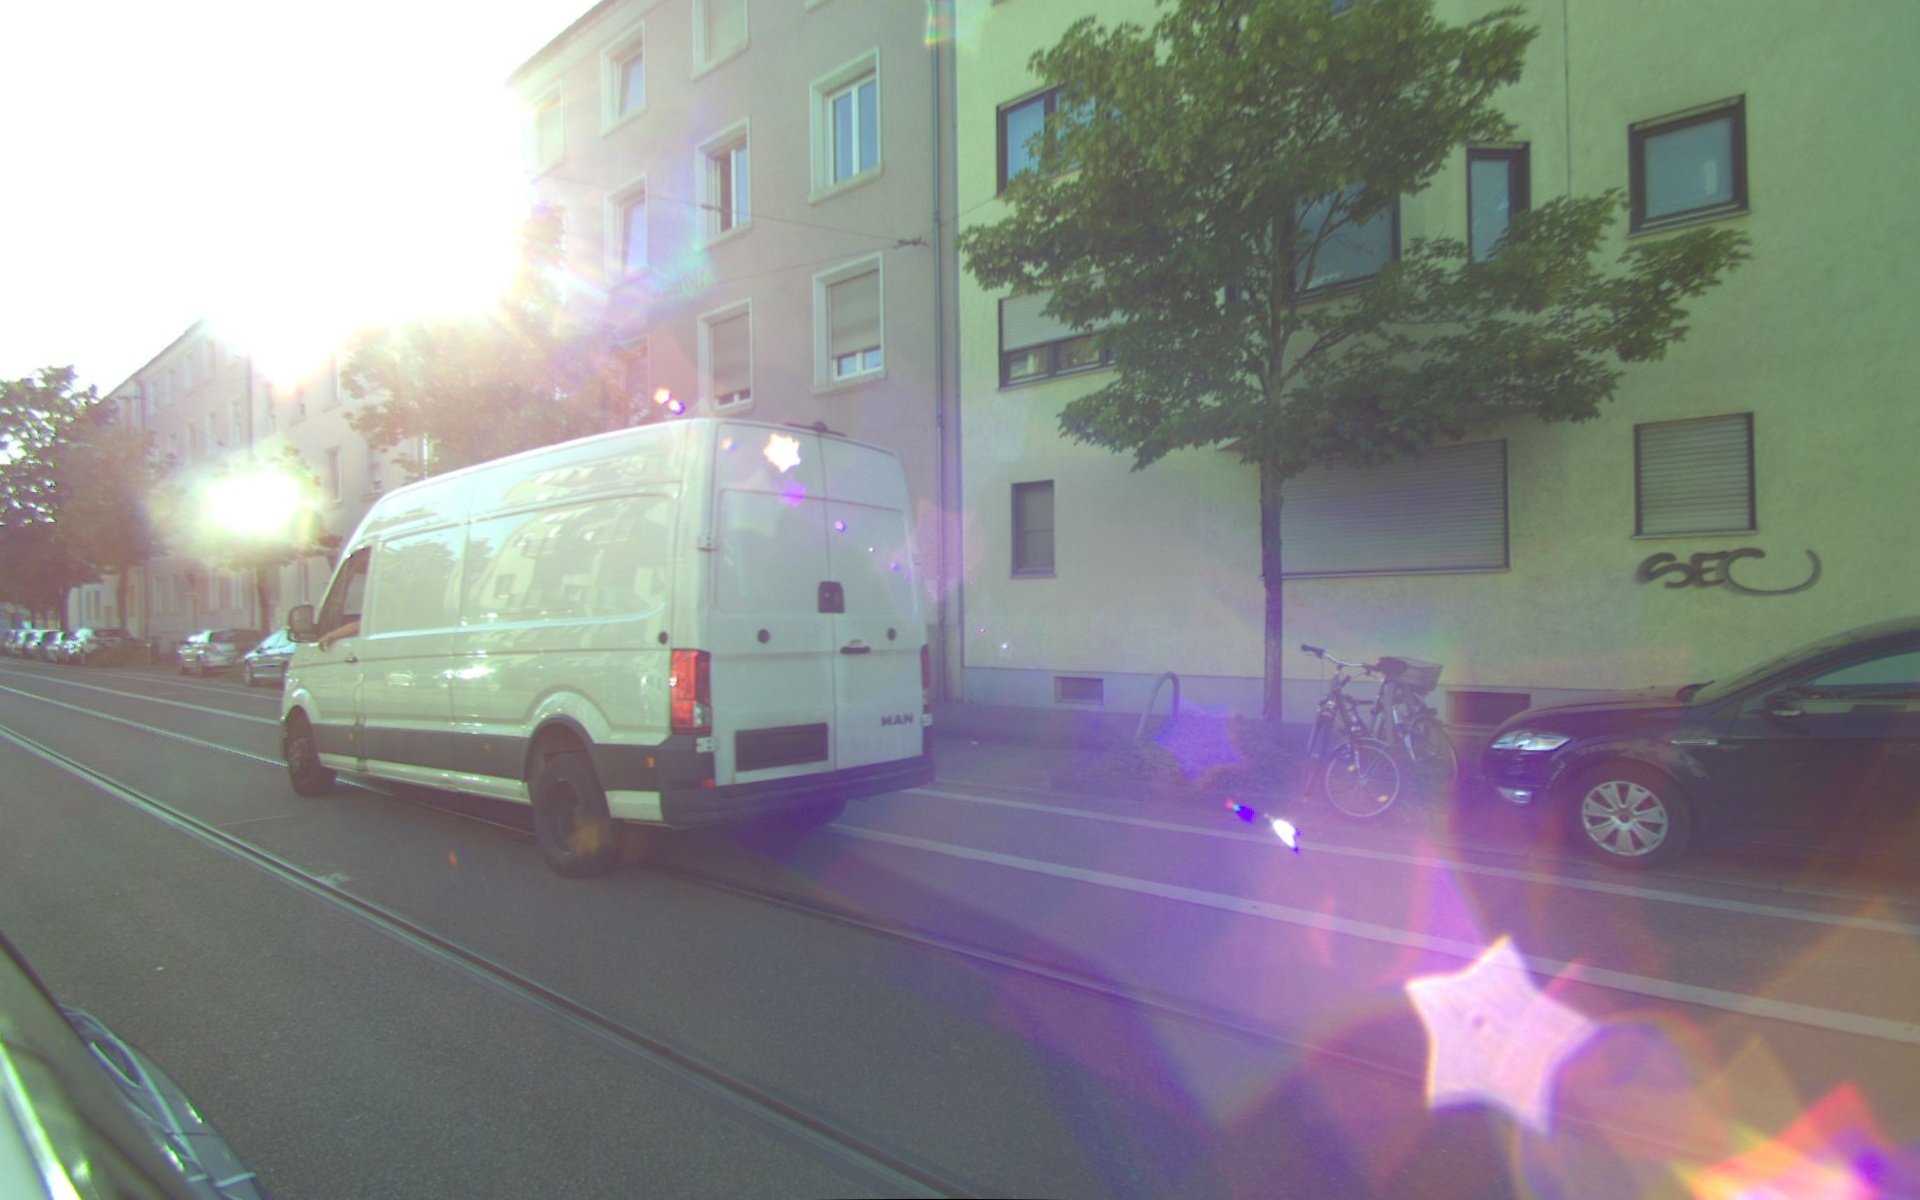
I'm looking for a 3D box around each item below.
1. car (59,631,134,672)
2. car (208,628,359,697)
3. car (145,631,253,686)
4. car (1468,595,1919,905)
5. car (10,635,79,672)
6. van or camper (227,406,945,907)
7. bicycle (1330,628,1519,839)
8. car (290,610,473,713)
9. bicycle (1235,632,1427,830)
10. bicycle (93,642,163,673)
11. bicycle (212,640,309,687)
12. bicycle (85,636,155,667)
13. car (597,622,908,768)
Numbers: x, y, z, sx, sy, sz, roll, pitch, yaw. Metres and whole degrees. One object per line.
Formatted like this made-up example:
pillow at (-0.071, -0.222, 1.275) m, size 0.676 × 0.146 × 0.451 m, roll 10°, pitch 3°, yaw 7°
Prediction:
car at (-36.832, 2.169, 43.136) m, size 4.042 × 1.635 × 1.668 m, roll -2°, pitch -1°, yaw 38°
car at (-16.530, 1.470, 24.631) m, size 4.854 × 1.484 × 1.747 m, roll -2°, pitch -1°, yaw 40°
car at (-23.175, 1.731, 30.751) m, size 4.751 × 1.484 × 1.746 m, roll -2°, pitch -1°, yaw 42°
car at (5.598, 0.743, 5.532) m, size 4.732 × 1.554 × 1.746 m, roll -2°, pitch -1°, yaw 42°
car at (-41.779, 2.398, 46.158) m, size 4.042 × 1.563 × 1.668 m, roll -2°, pitch -1°, yaw 38°
van or camper at (-3.500, 0.374, 8.274) m, size 6.826 × 2.572 × 2.346 m, roll -2°, pitch -1°, yaw 39°
bicycle at (3.634, 0.916, 7.788) m, size 0.699 × 1.344 × 2.269 m, roll -2°, pitch -1°, yaw 40°
car at (-12.171, 1.225, 21.185) m, size 4.418 × 1.859 × 1.748 m, roll -2°, pitch 1°, yaw 39°
bicycle at (3.090, 0.965, 8.276) m, size 0.699 × 1.344 × 2.269 m, roll -2°, pitch -1°, yaw 40°
bicycle at (-33.214, 2.273, 40.432) m, size 0.530 × 1.151 × 2.124 m, roll -2°, pitch -1°, yaw 37°
bicycle at (-19.509, 1.759, 28.269) m, size 0.658 × 1.151 × 2.124 m, roll -2°, pitch 0°, yaw 37°
bicycle at (-33.849, 2.052, 40.817) m, size 0.535 × 1.151 × 2.124 m, roll -2°, pitch -1°, yaw 37°
car at (-2.761, 1.100, 12.985) m, size 4.038 × 1.484 × 1.747 m, roll -2°, pitch 1°, yaw 40°
